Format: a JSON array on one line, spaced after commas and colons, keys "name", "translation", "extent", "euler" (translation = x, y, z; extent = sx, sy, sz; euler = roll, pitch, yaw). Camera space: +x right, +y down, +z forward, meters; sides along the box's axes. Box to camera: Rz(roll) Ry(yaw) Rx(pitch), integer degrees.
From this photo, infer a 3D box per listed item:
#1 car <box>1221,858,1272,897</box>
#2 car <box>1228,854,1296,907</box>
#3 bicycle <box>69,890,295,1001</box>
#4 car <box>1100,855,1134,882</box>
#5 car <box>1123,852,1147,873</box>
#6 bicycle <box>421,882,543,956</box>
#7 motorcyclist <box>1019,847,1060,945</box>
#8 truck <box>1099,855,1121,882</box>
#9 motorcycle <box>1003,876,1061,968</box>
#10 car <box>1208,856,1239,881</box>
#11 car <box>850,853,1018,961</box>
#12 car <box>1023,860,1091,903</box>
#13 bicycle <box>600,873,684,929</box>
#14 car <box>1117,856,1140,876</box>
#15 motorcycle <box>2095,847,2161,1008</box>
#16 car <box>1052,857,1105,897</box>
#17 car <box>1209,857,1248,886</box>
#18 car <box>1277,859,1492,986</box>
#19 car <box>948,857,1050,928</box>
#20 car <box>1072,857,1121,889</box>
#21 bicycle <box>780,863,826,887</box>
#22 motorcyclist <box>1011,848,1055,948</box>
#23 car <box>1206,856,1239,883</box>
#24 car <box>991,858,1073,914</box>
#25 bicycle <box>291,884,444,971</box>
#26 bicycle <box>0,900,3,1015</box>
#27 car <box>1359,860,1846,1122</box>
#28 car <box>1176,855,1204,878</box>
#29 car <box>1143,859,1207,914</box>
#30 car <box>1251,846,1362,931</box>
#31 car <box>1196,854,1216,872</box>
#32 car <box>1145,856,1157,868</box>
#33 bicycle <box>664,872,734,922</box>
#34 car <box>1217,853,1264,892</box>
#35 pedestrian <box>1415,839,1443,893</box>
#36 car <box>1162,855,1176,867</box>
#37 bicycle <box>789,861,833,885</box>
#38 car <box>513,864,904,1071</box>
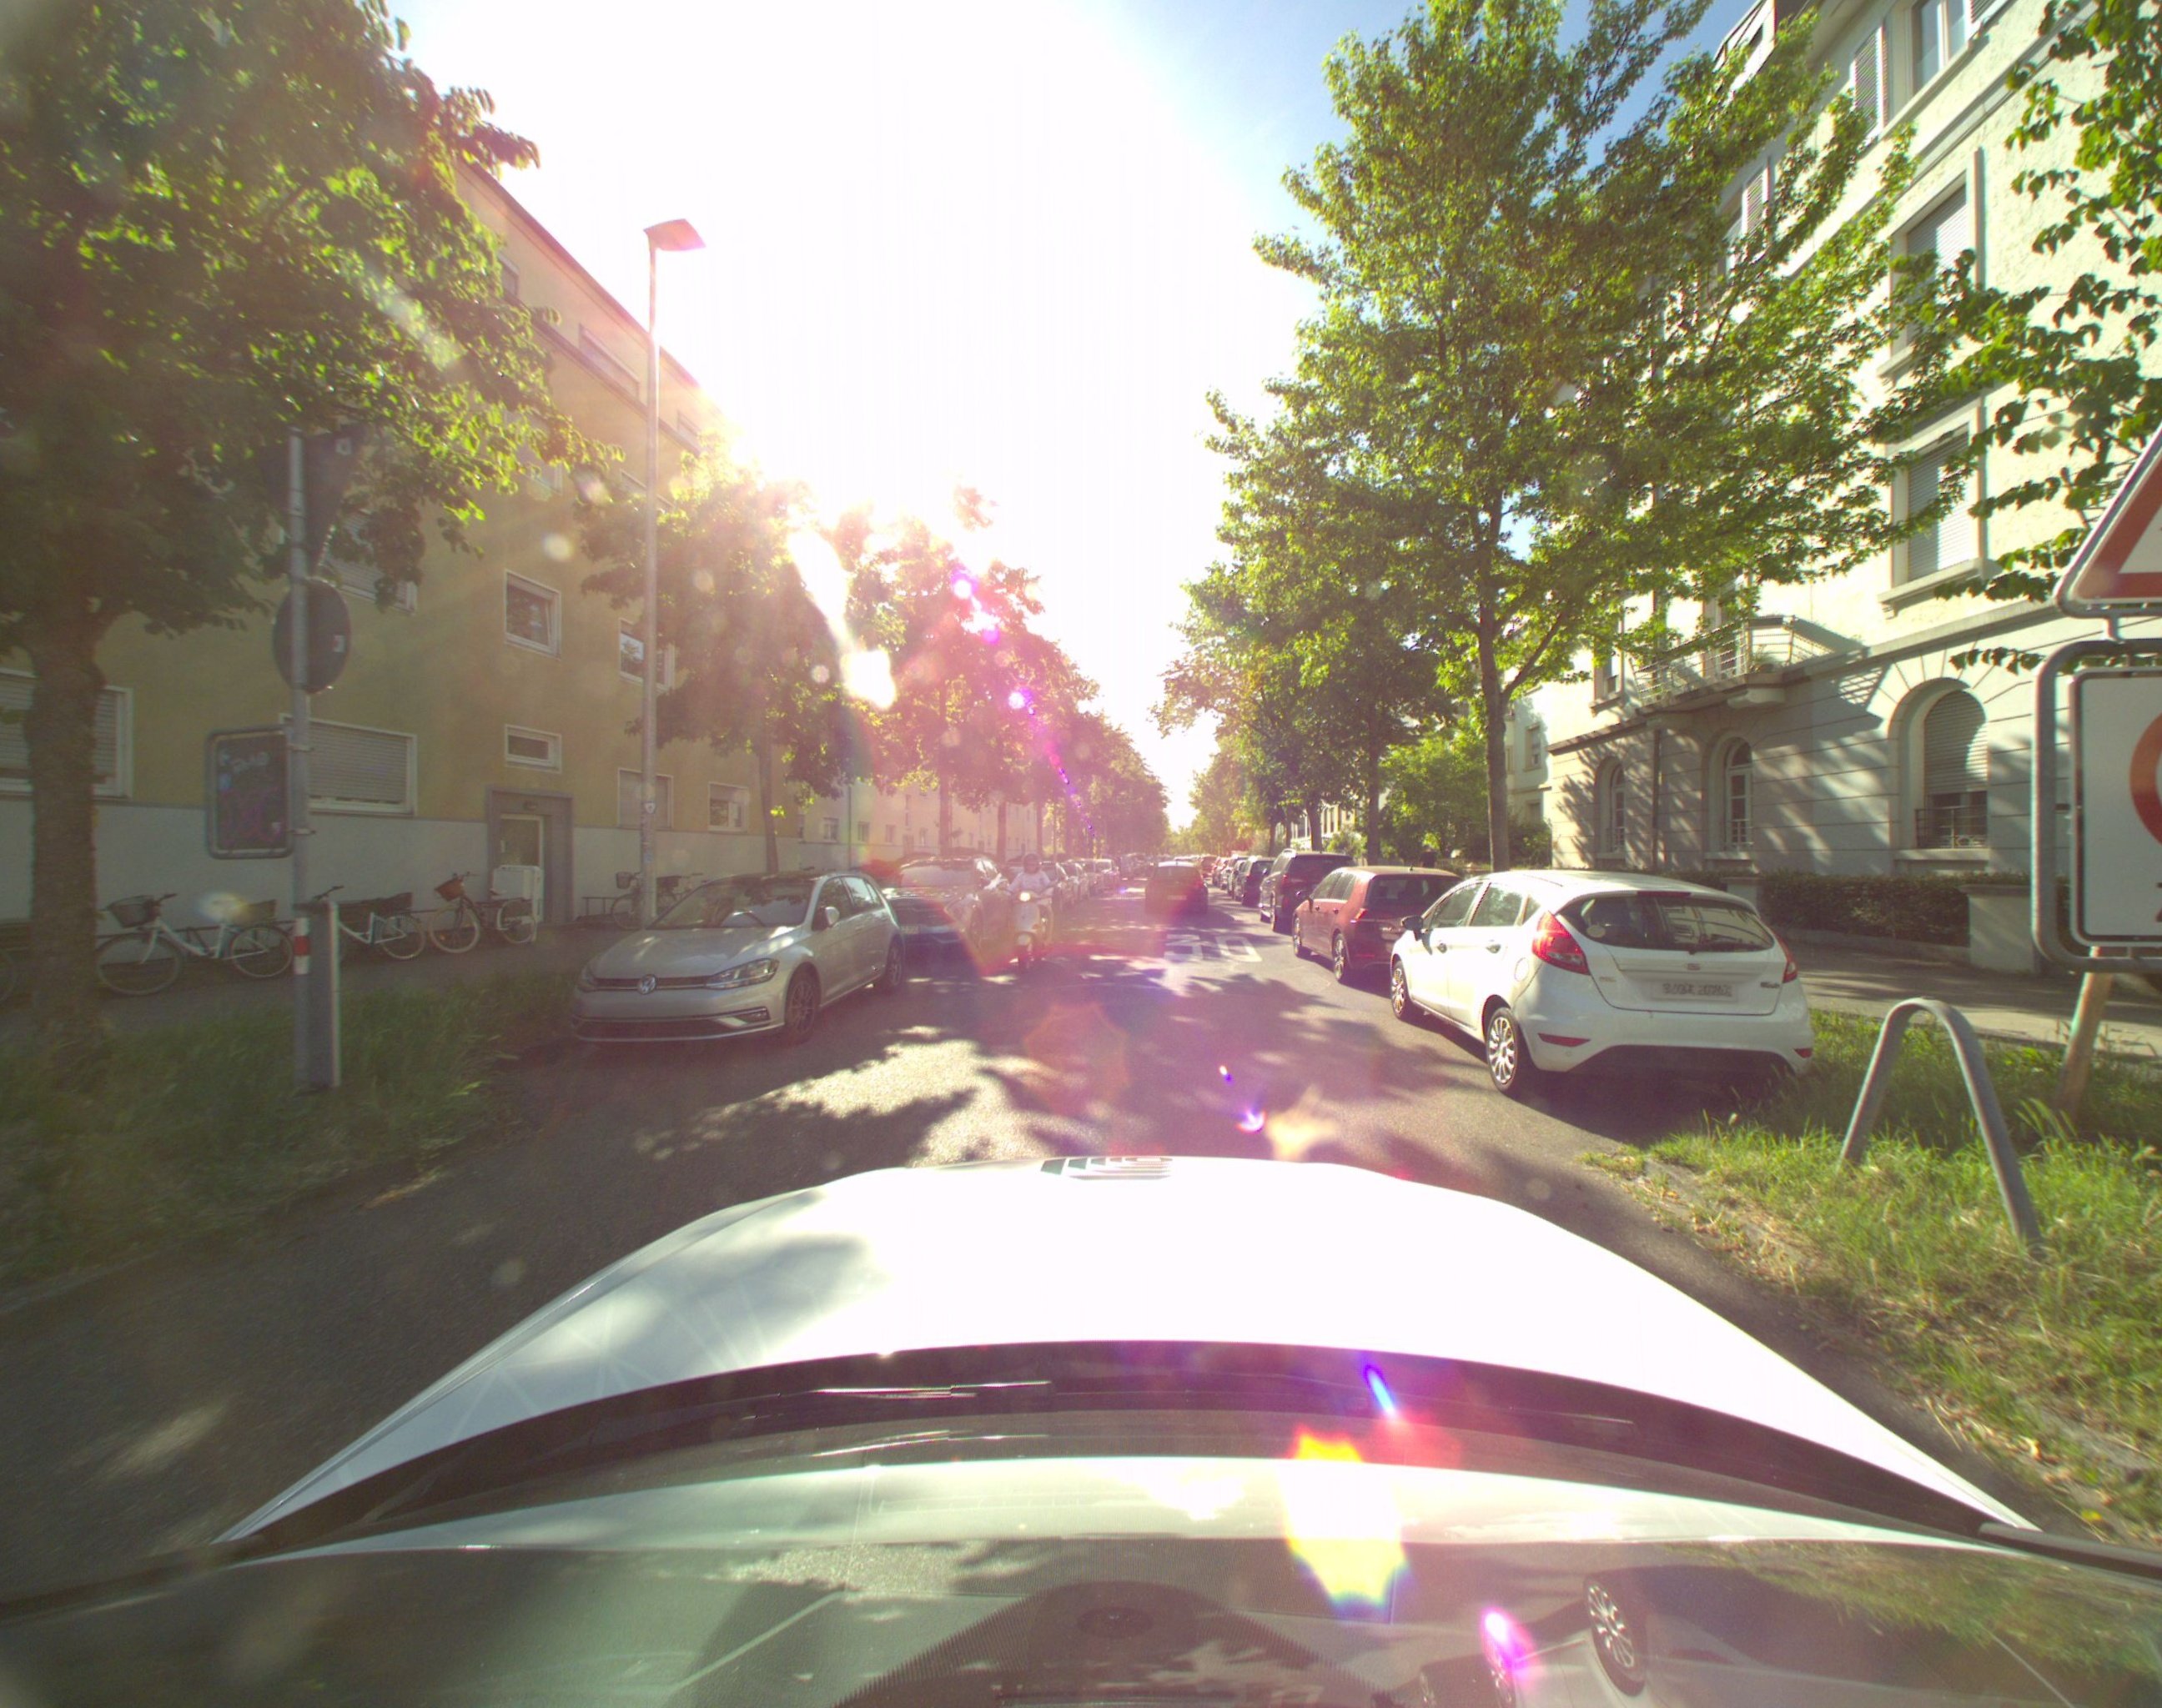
[{"name": "car", "translation": [6.495, 0.882, 32.258], "extent": [1.621, 1.425, 4.376], "euler": [-1, 0, 7]}, {"name": "car", "translation": [6.048, 0.838, 27.676], "extent": [1.676, 1.588, 4.542], "euler": [2, 0, 5]}, {"name": "bicycle", "translation": [-9.587, 0.931, 8.782], "extent": [0.432, 1.001, 1.685], "euler": [0, 0, 7]}, {"name": "car", "translation": [2.457, 0.922, 54.099], "extent": [1.840, 1.680, 4.986], "euler": [-3, 0, 7]}, {"name": "car", "translation": [5.114, 0.759, 76.562], "extent": [1.816, 1.904, 5.153], "euler": [-2, 0, 7]}, {"name": "bicycle", "translation": [-8.991, 0.943, 12.295], "extent": [0.512, 1.001, 1.549], "euler": [0, 0, 10]}, {"name": "motorcyclist", "translation": [-0.619, 0.615, 12.173], "extent": [0.541, 1.426, 0.404], "euler": [0, 0, 6]}, {"name": "truck", "translation": [1.776, 0.852, 49.506], "extent": [1.078, 1.577, 2.438], "euler": [-1, 0, 9]}, {"name": "motorcycle", "translation": [-0.673, 0.928, 11.632], "extent": [0.550, 1.175, 1.635], "euler": [0, 0, 7]}, {"name": "car", "translation": [8.986, 0.883, 51.530], "extent": [1.691, 1.449, 4.091], "euler": [-1, 0, 7]}, {"name": "car", "translation": [-2.336, 0.776, 14.295], "extent": [1.683, 1.565, 4.742], "euler": [0, 0, 5]}, {"name": "car", "translation": [-0.763, 0.913, 29.200], "extent": [1.736, 1.369, 4.683], "euler": [-1, 0, 7]}, {"name": "bicycle", "translation": [-8.743, 0.910, 16.312], "extent": [0.537, 1.027, 1.752], "euler": [0, 0, 8]}, {"name": "car", "translation": [3.892, 0.944, 65.992], "extent": [1.499, 1.548, 4.787], "euler": [-2, -1, 6]}, {"name": "motorcycle", "translation": [9.334, 0.623, 6.309], "extent": [0.536, 1.361, 2.093], "euler": [0, 0, 7]}, {"name": "car", "translation": [-0.041, 0.939, 35.106], "extent": [1.611, 1.515, 4.278], "euler": [-2, 0, 8]}, {"name": "car", "translation": [7.542, 0.879, 41.984], "extent": [1.641, 1.428, 3.617], "euler": [-1, 0, 5]}, {"name": "car", "translation": [3.960, 0.797, 11.414], "extent": [1.604, 1.410, 4.355], "euler": [0, 0, 3]}, {"name": "car", "translation": [-1.799, 0.825, 18.856], "extent": [1.656, 1.486, 3.262], "euler": [0, 0, 7]}, {"name": "car", "translation": [0.829, 0.926, 40.670], "extent": [1.781, 1.444, 4.699], "euler": [-2, 0, 9]}, {"name": "bicycle", "translation": [-10.861, 0.814, 31.788], "extent": [1.625, 0.930, 0.482], "euler": [-1, 0, 3]}, {"name": "motorcyclist", "translation": [-0.679, 0.621, 11.695], "extent": [0.550, 1.403, 0.520], "euler": [0, 0, 6]}, {"name": "car", "translation": [8.137, 0.878, 47.022], "extent": [1.628, 1.455, 4.107], "euler": [0, 0, 7]}, {"name": "car", "translation": [-1.333, 0.864, 23.742], "extent": [1.656, 1.459, 3.940], "euler": [0, 0, 7]}, {"name": "bicycle", "translation": [-9.255, 0.917, 10.643], "extent": [0.509, 1.001, 1.548], "euler": [0, 0, 7]}, {"name": "bicycle", "translation": [-9.728, 0.901, 6.364], "extent": [0.451, 1.001, 1.548], "euler": [0, 0, 7]}, {"name": "car", "translation": [3.574, 0.765, 6.581], "extent": [1.644, 1.402, 4.143], "euler": [0, 0, 6]}, {"name": "car", "translation": [7.271, 0.799, 54.611], "extent": [1.641, 1.425, 4.007], "euler": [-1, 0, 5]}, {"name": "car", "translation": [2.662, 0.865, 23.081], "extent": [1.641, 1.397, 3.417], "euler": [-1, 0, 6]}, {"name": "car", "translation": [4.959, 0.700, 18.462], "extent": [1.771, 1.698, 4.305], "euler": [-1, 0, 6]}, {"name": "car", "translation": [12.078, 0.866, 78.787], "extent": [1.837, 1.631, 4.420], "euler": [1, -1, 8]}, {"name": "car", "translation": [9.893, 1.126, 114.930], "extent": [1.604, 1.543, 3.872], "euler": [-1, 0, 6]}, {"name": "bicycle", "translation": [-8.516, 0.938, 18.235], "extent": [0.532, 1.027, 1.752], "euler": [0, 0, 8]}, {"name": "car", "translation": [7.153, 0.792, 36.867], "extent": [1.641, 1.655, 3.851], "euler": [0, 0, 4]}, {"name": "pedestrian", "translation": [11.525, 0.396, 26.966], "extent": [0.619, 1.775, 0.801], "euler": [-1, -1, 7]}, {"name": "car", "translation": [11.079, 0.850, 102.815], "extent": [1.496, 1.426, 3.187], "euler": [0, 0, 11]}, {"name": "bicycle", "translation": [-11.225, 0.788, 33.893], "extent": [1.628, 0.930, 0.481], "euler": [-1, 0, -2]}, {"name": "car", "translation": [-3.148, 0.847, 7.913], "extent": [1.752, 1.442, 3.998], "euler": [0, 0, 4]}]
